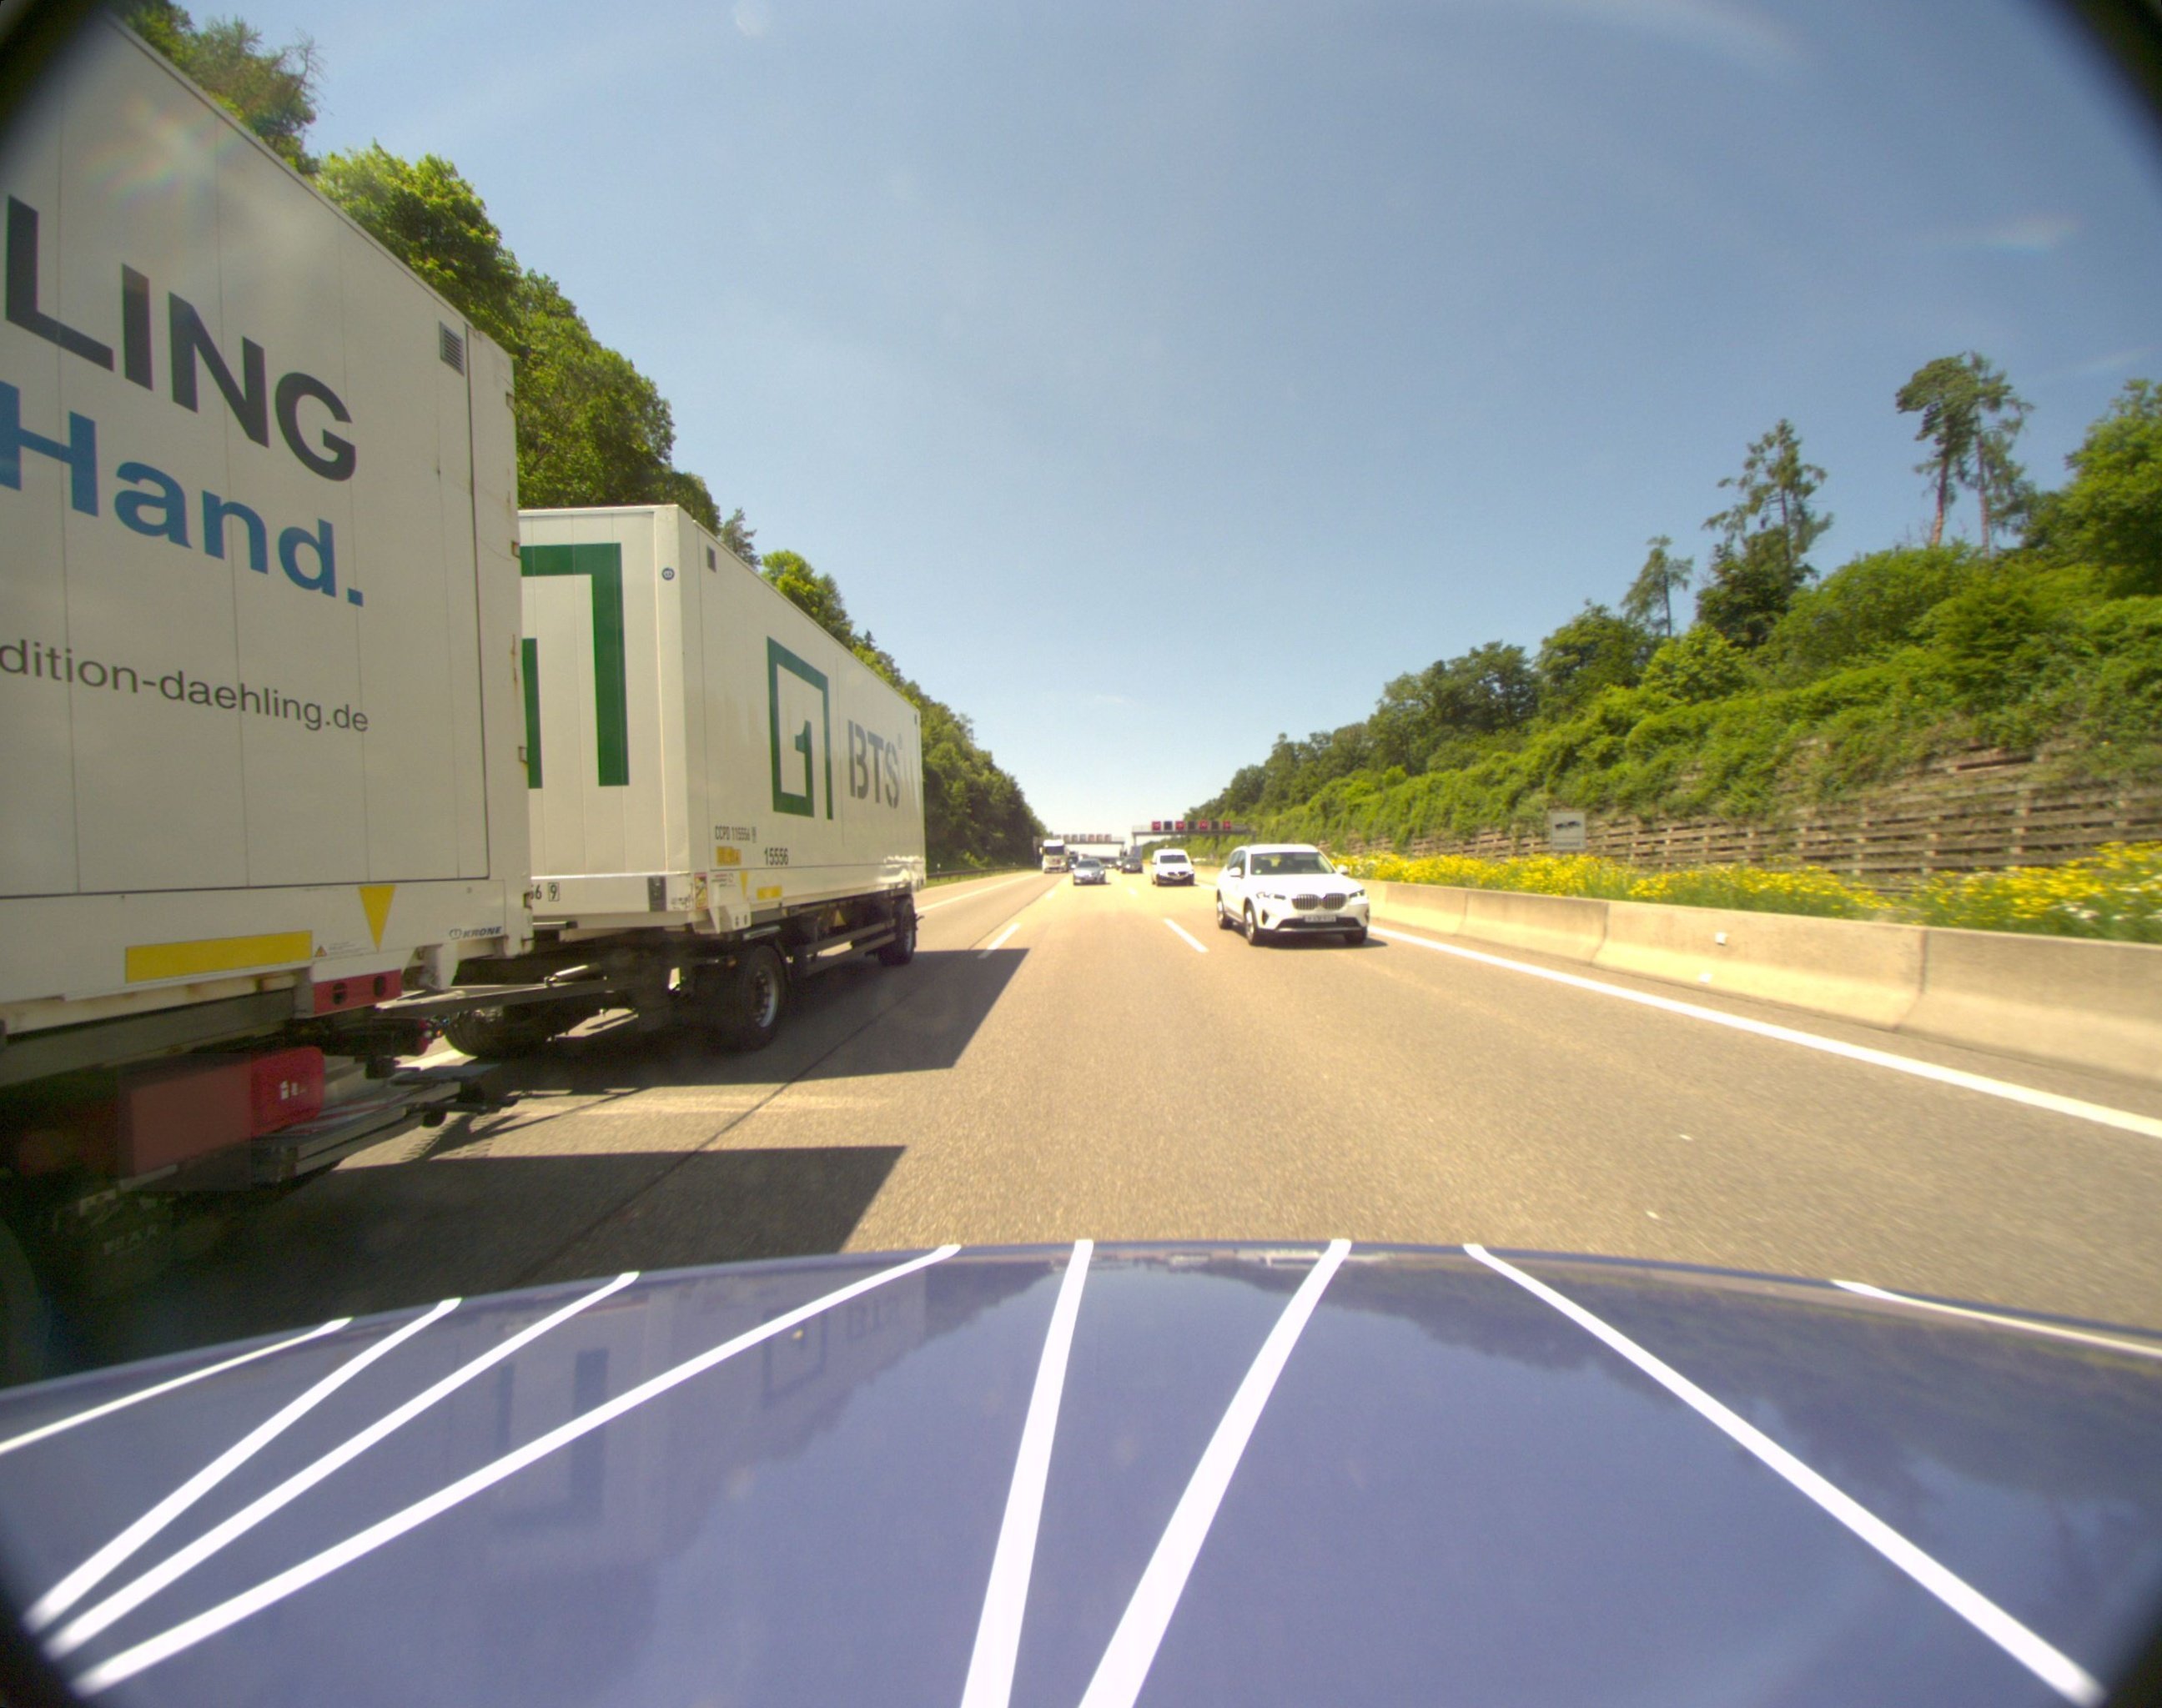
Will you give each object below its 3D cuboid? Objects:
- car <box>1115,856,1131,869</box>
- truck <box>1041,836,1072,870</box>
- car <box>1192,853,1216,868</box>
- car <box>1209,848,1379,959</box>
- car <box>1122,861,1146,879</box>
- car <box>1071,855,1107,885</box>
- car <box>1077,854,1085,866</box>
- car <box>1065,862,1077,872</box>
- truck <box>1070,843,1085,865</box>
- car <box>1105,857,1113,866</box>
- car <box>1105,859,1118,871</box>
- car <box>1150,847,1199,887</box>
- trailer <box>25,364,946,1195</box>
[{"bbox_3d":[5.072,1.015,92.079,1.770,1.504,4.001,-3,-1,0],"label":"car"},{"bbox_3d":[-2.682,-0.012,87.914,2.844,3.517,13.089,-3,-1,1],"label":"truck"},{"bbox_3d":[12.828,0.687,79.605,1.792,1.513,4.203,0,0,0],"label":"car"},{"bbox_3d":[3.614,0.744,13.761,1.850,1.634,4.368,-2,0,1],"label":"car"},{"bbox_3d":[4.677,1.398,67.567,1.770,1.504,4.726,-3,-1,0],"label":"car"},{"bbox_3d":[0.530,0.867,43.159,1.843,1.517,4.502,-3,-1,2],"label":"car"},{"bbox_3d":[0.003,1.897,234.813,1.924,3.522,4.825,-3,-1,2],"label":"car"},{"bbox_3d":[-1.513,1.978,115.232,1.770,1.504,4.001,-3,-1,0],"label":"car"},{"bbox_3d":[-0.705,0.070,162.631,2.627,4.364,13.089,-3,-1,1],"label":"truck"},{"bbox_3d":[6.441,1.789,174.971,1.924,1.848,4.001,-3,-1,2],"label":"car"},{"bbox_3d":[5.021,1.727,124.705,1.924,1.848,4.001,-3,-1,2],"label":"car"},{"bbox_3d":[4.592,0.630,38.036,1.998,1.764,4.502,-3,-1,2],"label":"car"},{"bbox_3d":[-3.939,-0.313,8.909,2.687,4.150,10.066,-2,-1,1],"label":"trailer"}]
